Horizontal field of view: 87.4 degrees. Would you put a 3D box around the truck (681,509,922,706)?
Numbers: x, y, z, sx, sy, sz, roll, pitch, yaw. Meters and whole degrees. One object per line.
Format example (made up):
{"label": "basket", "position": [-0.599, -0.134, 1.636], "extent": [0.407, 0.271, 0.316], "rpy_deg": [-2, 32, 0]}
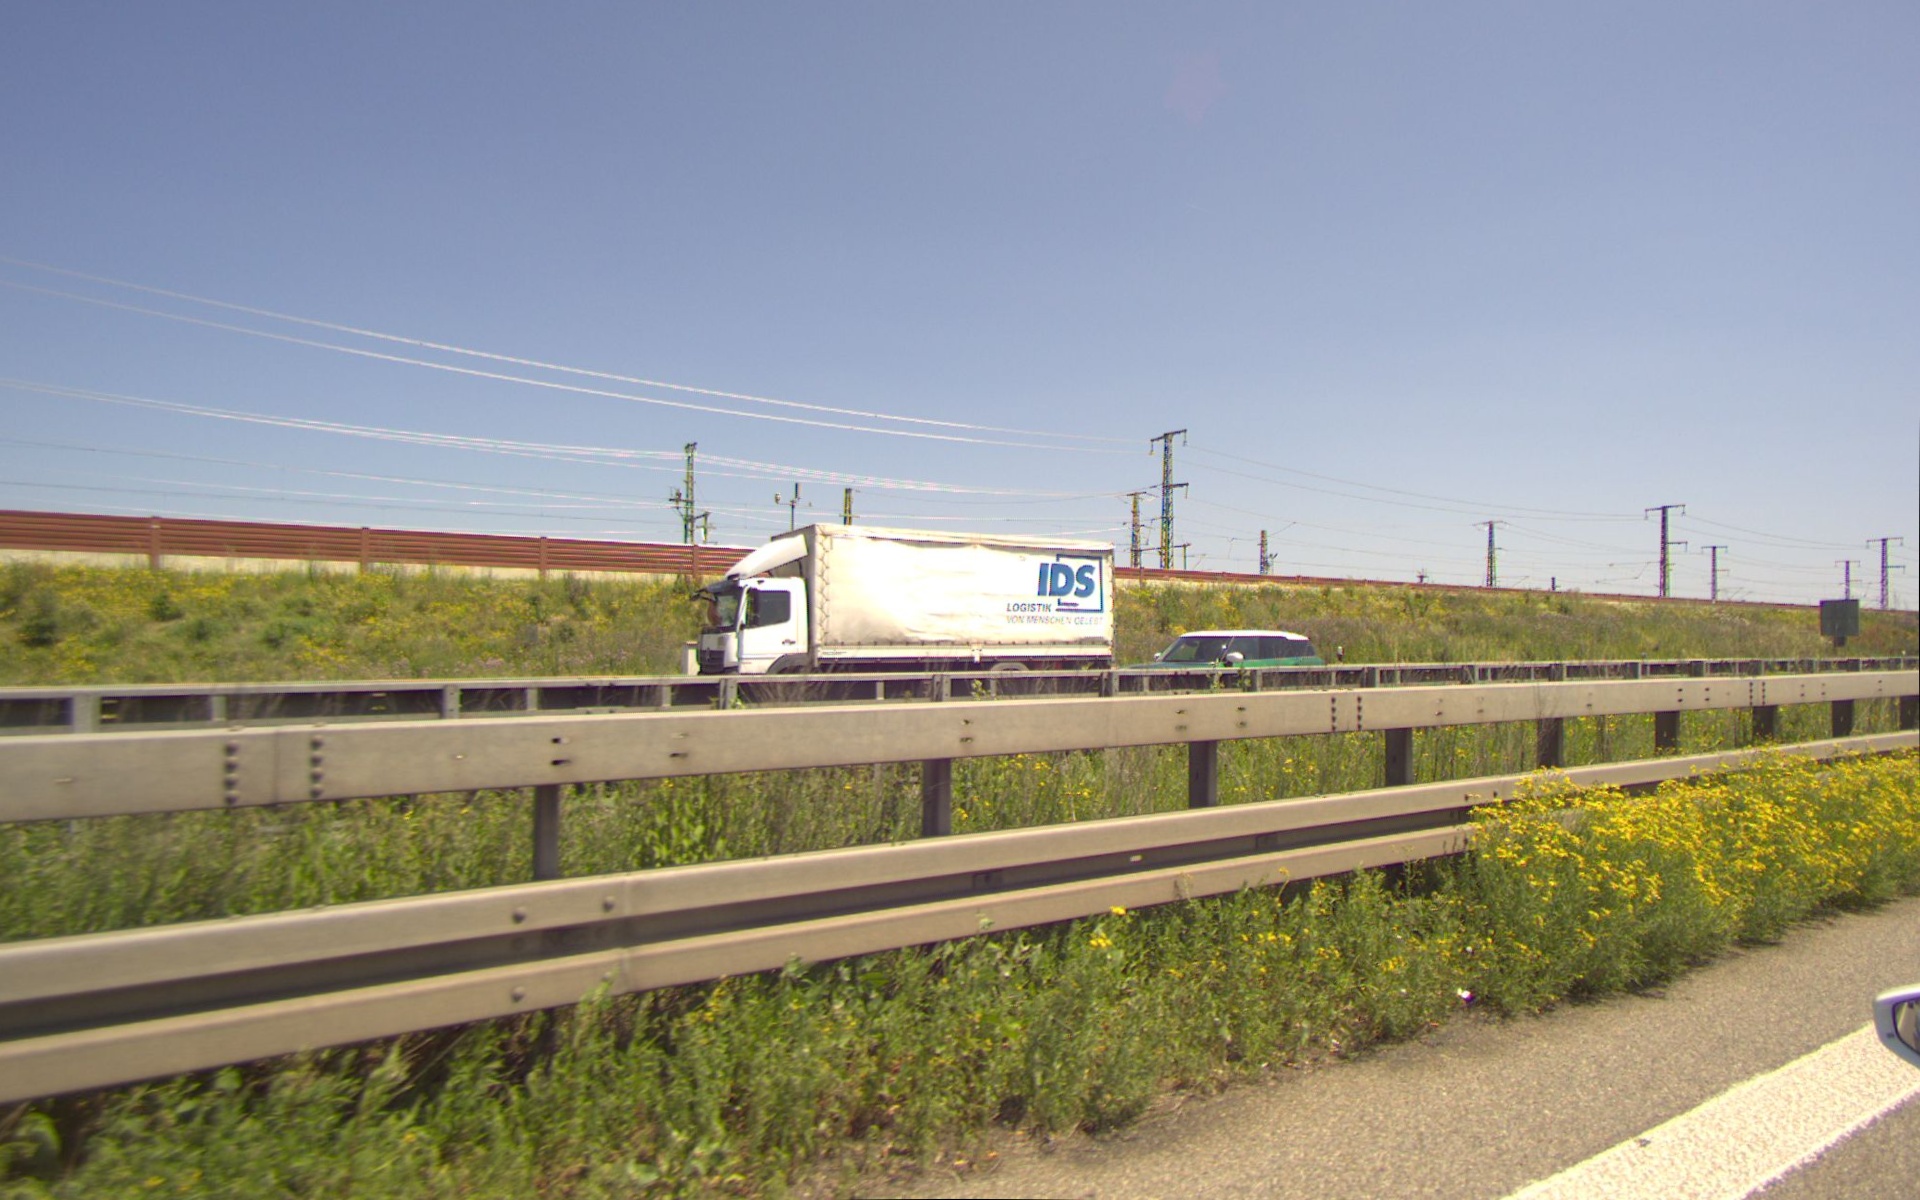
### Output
{"label": "truck", "position": [-3.204, 0.148, 20.114], "extent": [3.975, 3.513, 2.834], "rpy_deg": [1, 1, -30]}

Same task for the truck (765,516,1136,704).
{"label": "truck", "position": [-0.083, 0.237, 21.952], "extent": [7.688, 3.513, 2.844], "rpy_deg": [1, 1, -30]}

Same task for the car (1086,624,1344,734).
{"label": "car", "position": [4.247, 1.246, 16.675], "extent": [3.953, 1.632, 1.911], "rpy_deg": [1, -3, -30]}
